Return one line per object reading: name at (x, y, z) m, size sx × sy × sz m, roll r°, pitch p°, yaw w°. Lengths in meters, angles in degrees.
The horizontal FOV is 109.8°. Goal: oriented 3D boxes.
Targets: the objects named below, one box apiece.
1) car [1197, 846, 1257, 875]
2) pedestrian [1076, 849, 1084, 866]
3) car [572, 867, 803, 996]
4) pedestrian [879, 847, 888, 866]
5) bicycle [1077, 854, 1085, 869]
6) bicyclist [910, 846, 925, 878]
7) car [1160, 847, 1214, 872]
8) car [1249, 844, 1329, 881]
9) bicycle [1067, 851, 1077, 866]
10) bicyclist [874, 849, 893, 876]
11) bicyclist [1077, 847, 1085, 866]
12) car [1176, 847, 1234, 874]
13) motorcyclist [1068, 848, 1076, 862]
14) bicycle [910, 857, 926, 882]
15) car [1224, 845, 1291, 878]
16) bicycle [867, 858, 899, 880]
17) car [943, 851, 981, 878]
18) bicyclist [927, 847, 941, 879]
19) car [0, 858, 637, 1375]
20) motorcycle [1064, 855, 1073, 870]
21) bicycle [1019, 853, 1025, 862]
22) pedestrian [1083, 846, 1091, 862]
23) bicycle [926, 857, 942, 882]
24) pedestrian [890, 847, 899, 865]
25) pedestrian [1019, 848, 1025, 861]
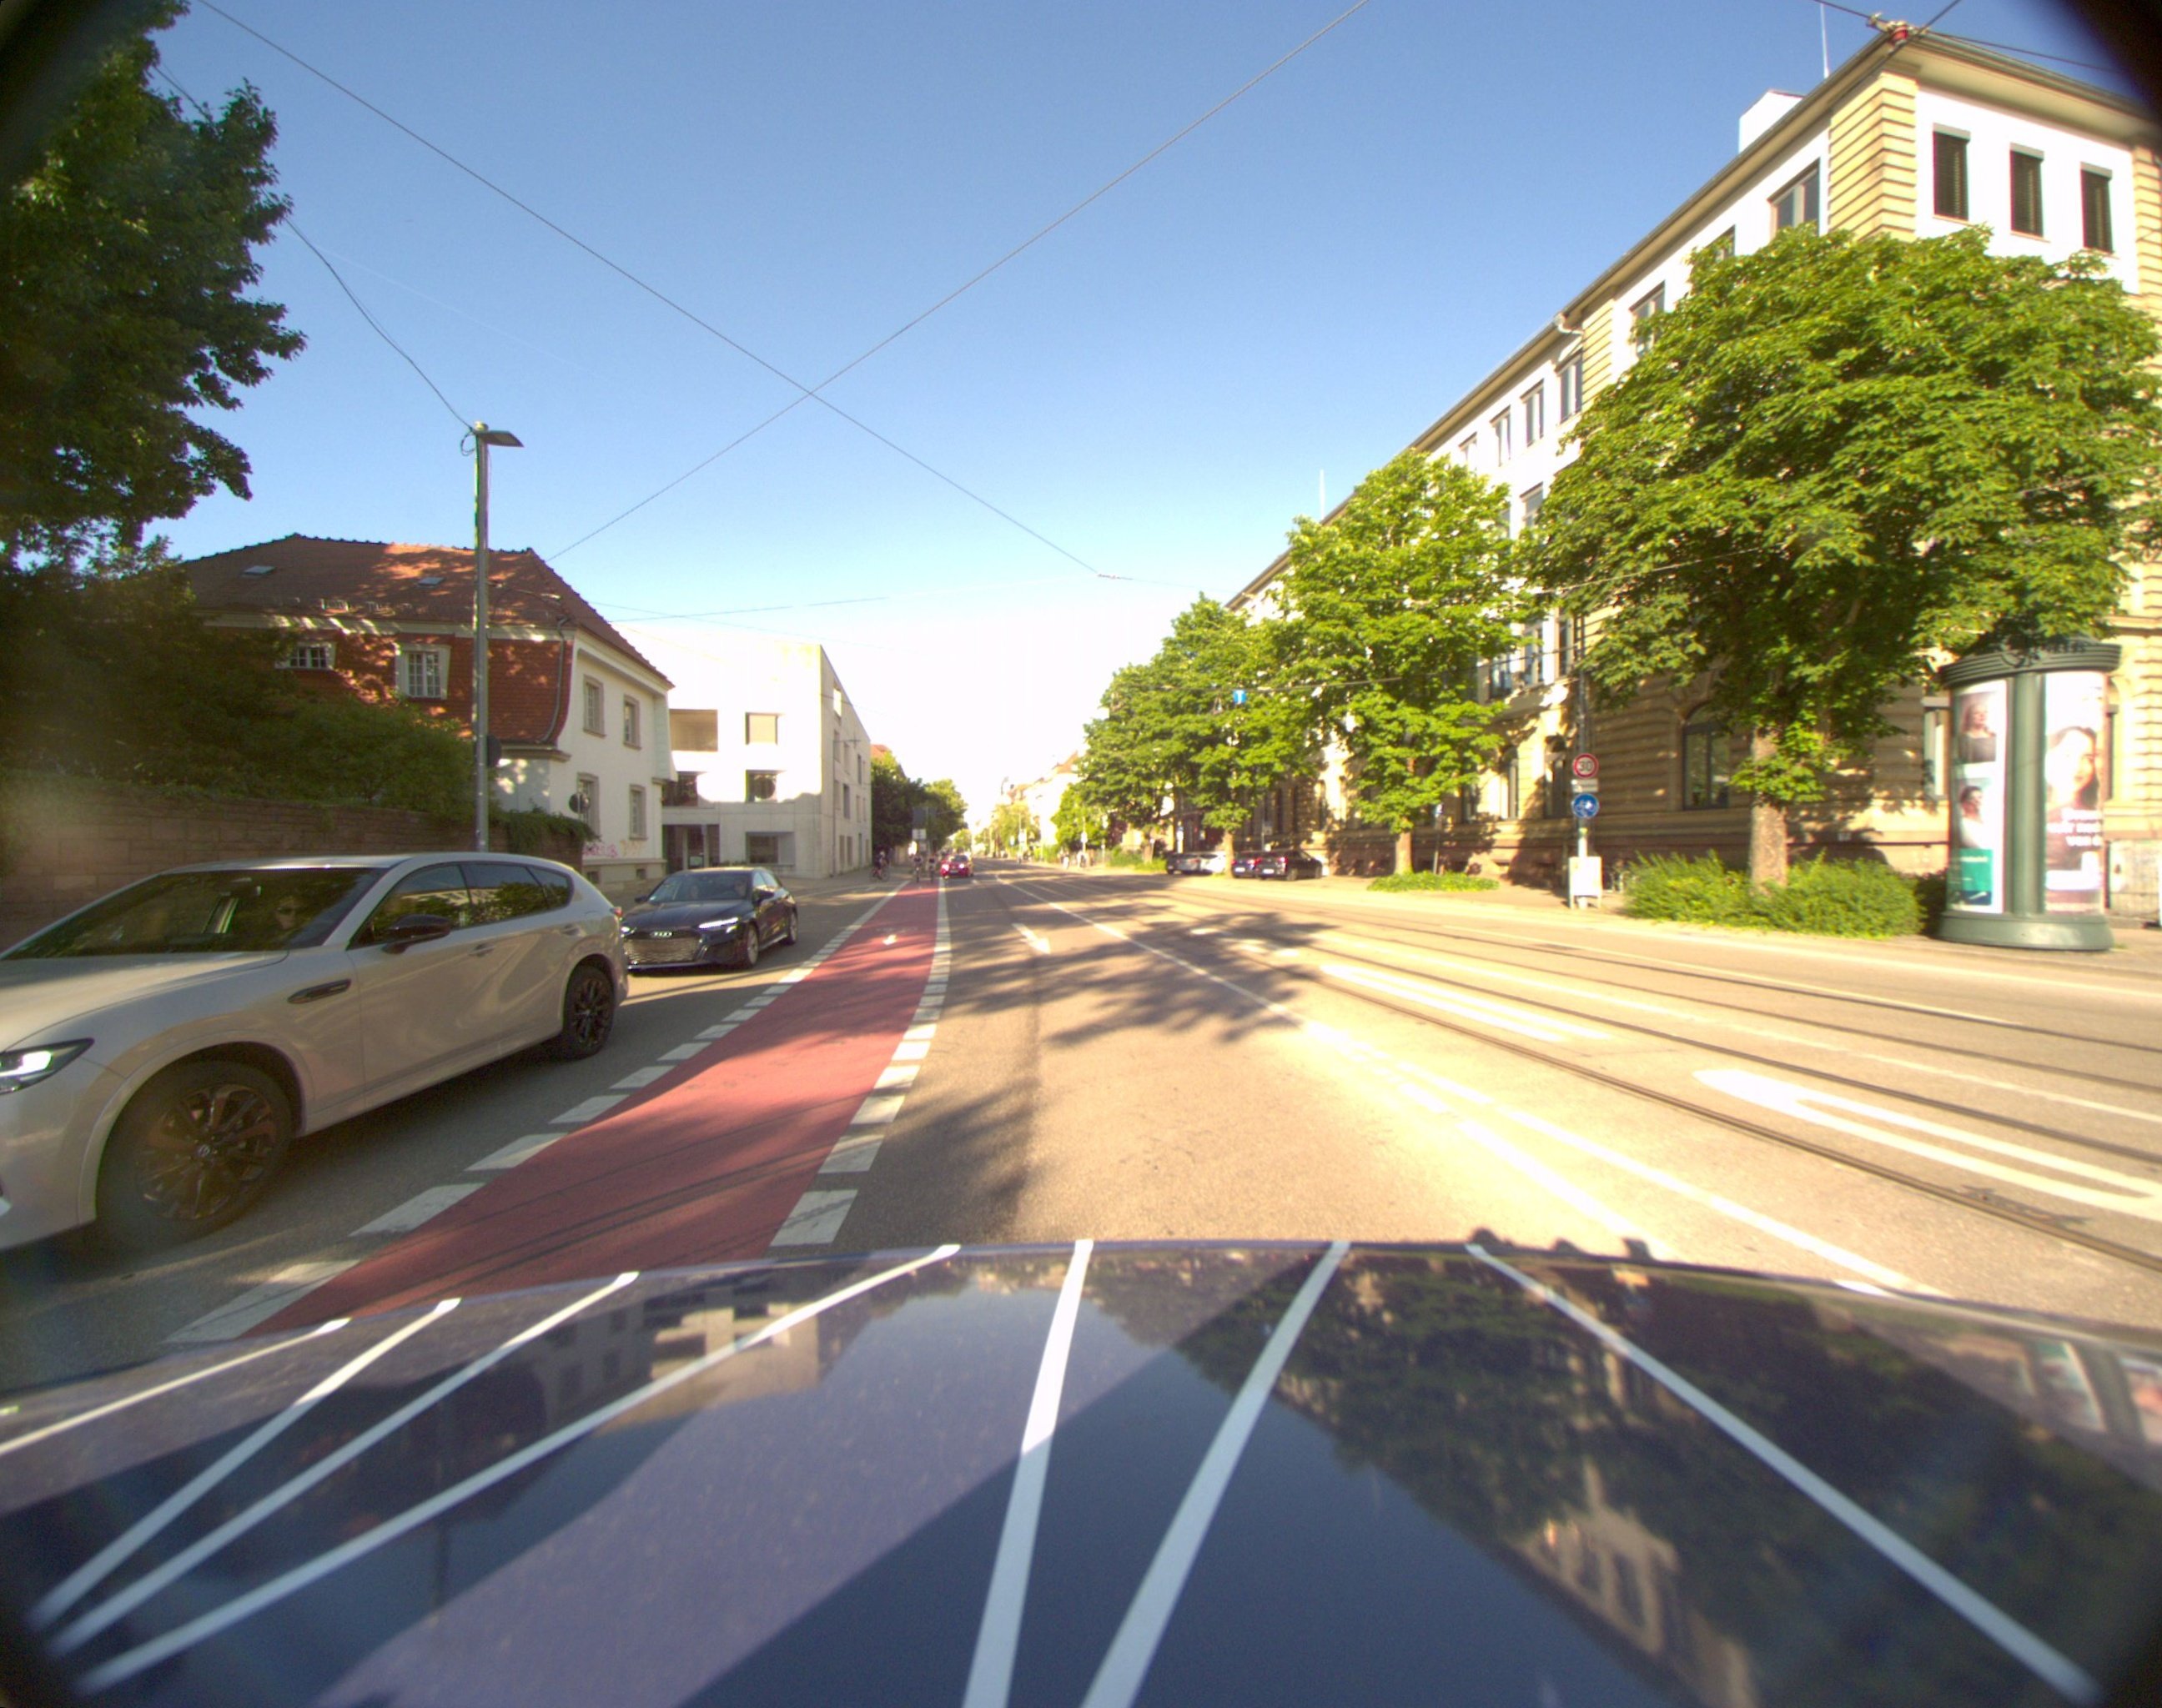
car at (8.891, 0.381, 46.123) m, size 3.657 × 1.552 × 1.645 m, roll -3°, pitch 1°, yaw -43°
pedestrian at (-0.112, 0.350, 75.663) m, size 0.676 × 1.638 × 0.817 m, roll -1°, pitch 1°, yaw -9°
car at (-5.620, 0.994, 11.475) m, size 1.789 × 1.425 × 3.997 m, roll -2°, pitch 1°, yaw -8°
pedestrian at (-17.730, 0.208, 68.214) m, size 0.676 × 1.638 × 0.817 m, roll -1°, pitch 1°, yaw -9°
bicycle at (0.040, 0.623, 66.308) m, size 0.676 × 1.243 × 2.456 m, roll 0°, pitch 1°, yaw 1°
bicyclist at (-8.645, 0.406, 40.234) m, size 0.676 × 1.638 × 1.028 m, roll 0°, pitch 1°, yaw -8°
car at (7.237, 0.353, 51.764) m, size 3.657 × 1.552 × 1.645 m, roll -3°, pitch 1°, yaw -43°
car at (10.384, 0.400, 37.747) m, size 4.189 × 1.621 × 1.841 m, roll -3°, pitch 1°, yaw -43°
bicycle at (-0.805, 0.398, 68.550) m, size 0.676 × 1.243 × 2.455 m, roll 0°, pitch 1°, yaw -5°
bicyclist at (-11.834, 0.501, 45.480) m, size 0.674 × 1.638 × 1.030 m, roll 0°, pitch 1°, yaw 17°
bicyclist at (0.034, 0.242, 66.186) m, size 0.675 × 1.638 × 1.029 m, roll 0°, pitch 1°, yaw 0°
car at (7.913, 0.382, 48.354) m, size 3.657 × 1.552 × 1.645 m, roll -3°, pitch 1°, yaw -43°
motorcyclist at (-0.808, 0.107, 68.564) m, size 0.676 × 1.243 × 0.853 m, roll 0°, pitch 1°, yaw -5°
bicycle at (-8.653, 0.797, 40.331) m, size 0.676 × 1.243 × 2.454 m, roll 0°, pitch 1°, yaw -8°
car at (9.420, 0.383, 40.407) m, size 3.657 × 1.552 × 1.645 m, roll -3°, pitch 1°, yaw -43°
bicycle at (-11.834, 0.891, 45.490) m, size 0.675 × 1.243 × 2.460 m, roll 0°, pitch 1°, yaw 17°
car at (-7.469, 0.607, 47.858) m, size 1.649 × 1.552 × 3.650 m, roll -2°, pitch 1°, yaw 1°
bicyclist at (-7.462, 0.441, 38.589) m, size 0.676 × 1.638 × 1.028 m, roll 0°, pitch 1°, yaw -8°
car at (-4.806, 0.934, 4.467) m, size 1.946 × 1.682 × 4.529 m, roll -2°, pitch 1°, yaw -5°
motorcycle at (-1.132, 0.784, 68.427) m, size 0.680 × 1.285 × 2.265 m, roll -2°, pitch 1°, yaw 1°
bicycle at (-7.894, 0.458, 101.843) m, size 0.676 × 1.243 × 2.456 m, roll -1°, pitch 1°, yaw 0°
pedestrian at (0.632, 0.019, 76.521) m, size 0.676 × 1.638 × 0.817 m, roll -1°, pitch 1°, yaw -9°
bicycle at (-7.465, 0.768, 38.599) m, size 0.676 × 1.243 × 2.454 m, roll 0°, pitch 1°, yaw -8°
pedestrian at (-16.798, 0.198, 68.578) m, size 0.676 × 1.638 × 0.817 m, roll -1°, pitch 1°, yaw -9°
pedestrian at (-7.905, 0.049, 101.840) m, size 0.675 × 1.638 × 0.817 m, roll -1°, pitch 1°, yaw 0°
